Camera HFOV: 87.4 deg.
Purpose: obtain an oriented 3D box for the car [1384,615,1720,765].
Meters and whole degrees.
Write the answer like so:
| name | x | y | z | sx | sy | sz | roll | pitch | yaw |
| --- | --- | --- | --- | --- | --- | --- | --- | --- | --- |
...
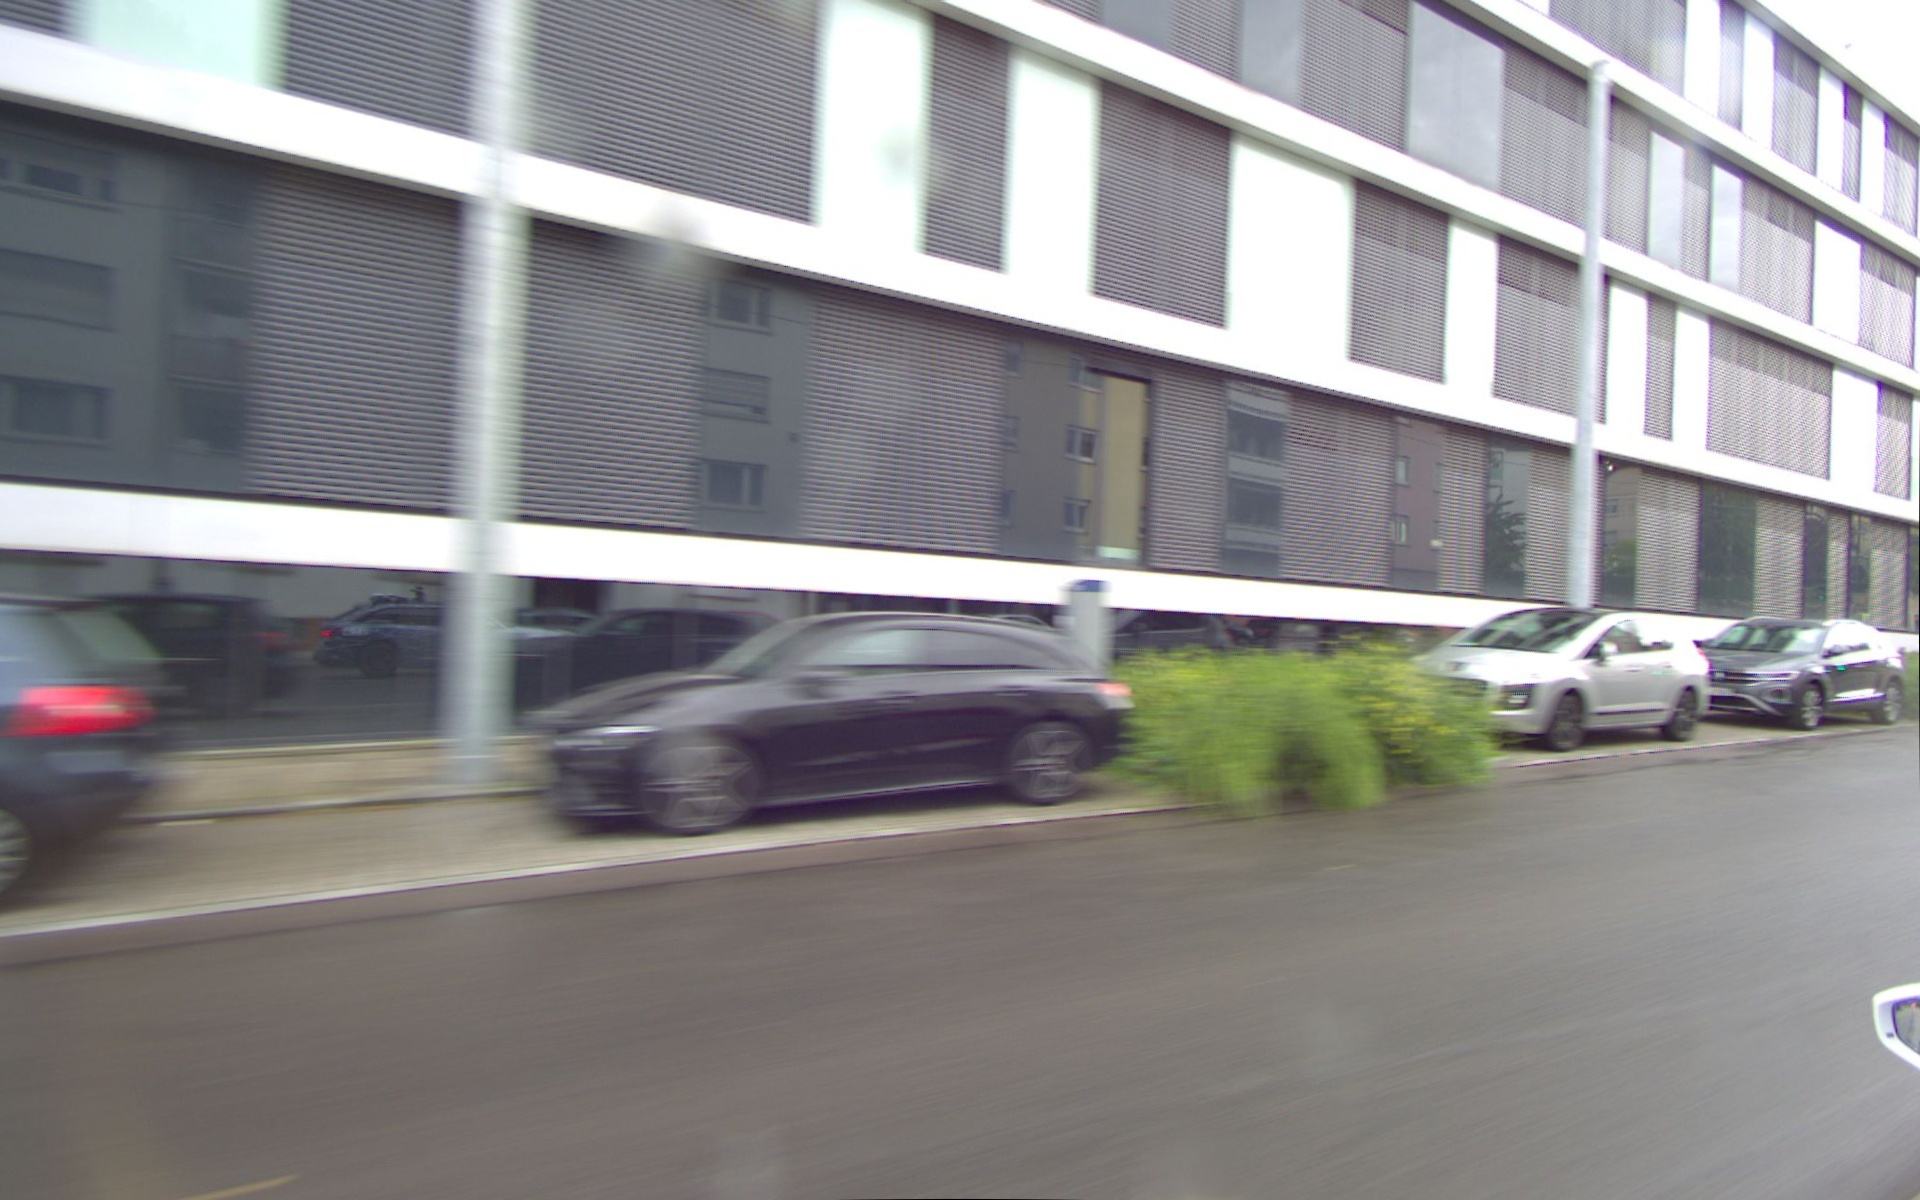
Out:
| name | x | y | z | sx | sy | sz | roll | pitch | yaw |
| --- | --- | --- | --- | --- | --- | --- | --- | --- | --- |
| car | 7.416 | 0.986 | 12.496 | 4.265 | 1.555 | 1.762 | 1 | 0 | -30 |

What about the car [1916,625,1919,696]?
| name | x | y | z | sx | sy | sz | roll | pitch | yaw |
| --- | --- | --- | --- | --- | --- | --- | --- | --- | --- |
| car | 21.915 | 1.275 | 21.114 | 3.673 | 1.479 | 1.588 | 1 | 0 | -29 |

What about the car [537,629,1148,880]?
| name | x | y | z | sx | sy | sz | roll | pitch | yaw |
| --- | --- | --- | --- | --- | --- | --- | --- | --- | --- |
| car | -0.820 | 0.971 | 7.784 | 4.340 | 1.415 | 1.829 | 1 | 0 | -30 |

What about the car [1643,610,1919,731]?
| name | x | y | z | sx | sy | sz | roll | pitch | yaw |
| --- | --- | --- | --- | --- | --- | --- | --- | --- | --- |
| car | 12.682 | 1.032 | 15.473 | 4.180 | 1.625 | 1.795 | 2 | 0 | -28 |

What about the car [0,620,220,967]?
| name | x | y | z | sx | sy | sz | roll | pitch | yaw |
| --- | --- | --- | --- | --- | --- | --- | --- | --- | --- |
| car | -6.127 | 0.886 | 4.516 | 4.295 | 1.509 | 1.854 | 0 | 0 | -30 |
